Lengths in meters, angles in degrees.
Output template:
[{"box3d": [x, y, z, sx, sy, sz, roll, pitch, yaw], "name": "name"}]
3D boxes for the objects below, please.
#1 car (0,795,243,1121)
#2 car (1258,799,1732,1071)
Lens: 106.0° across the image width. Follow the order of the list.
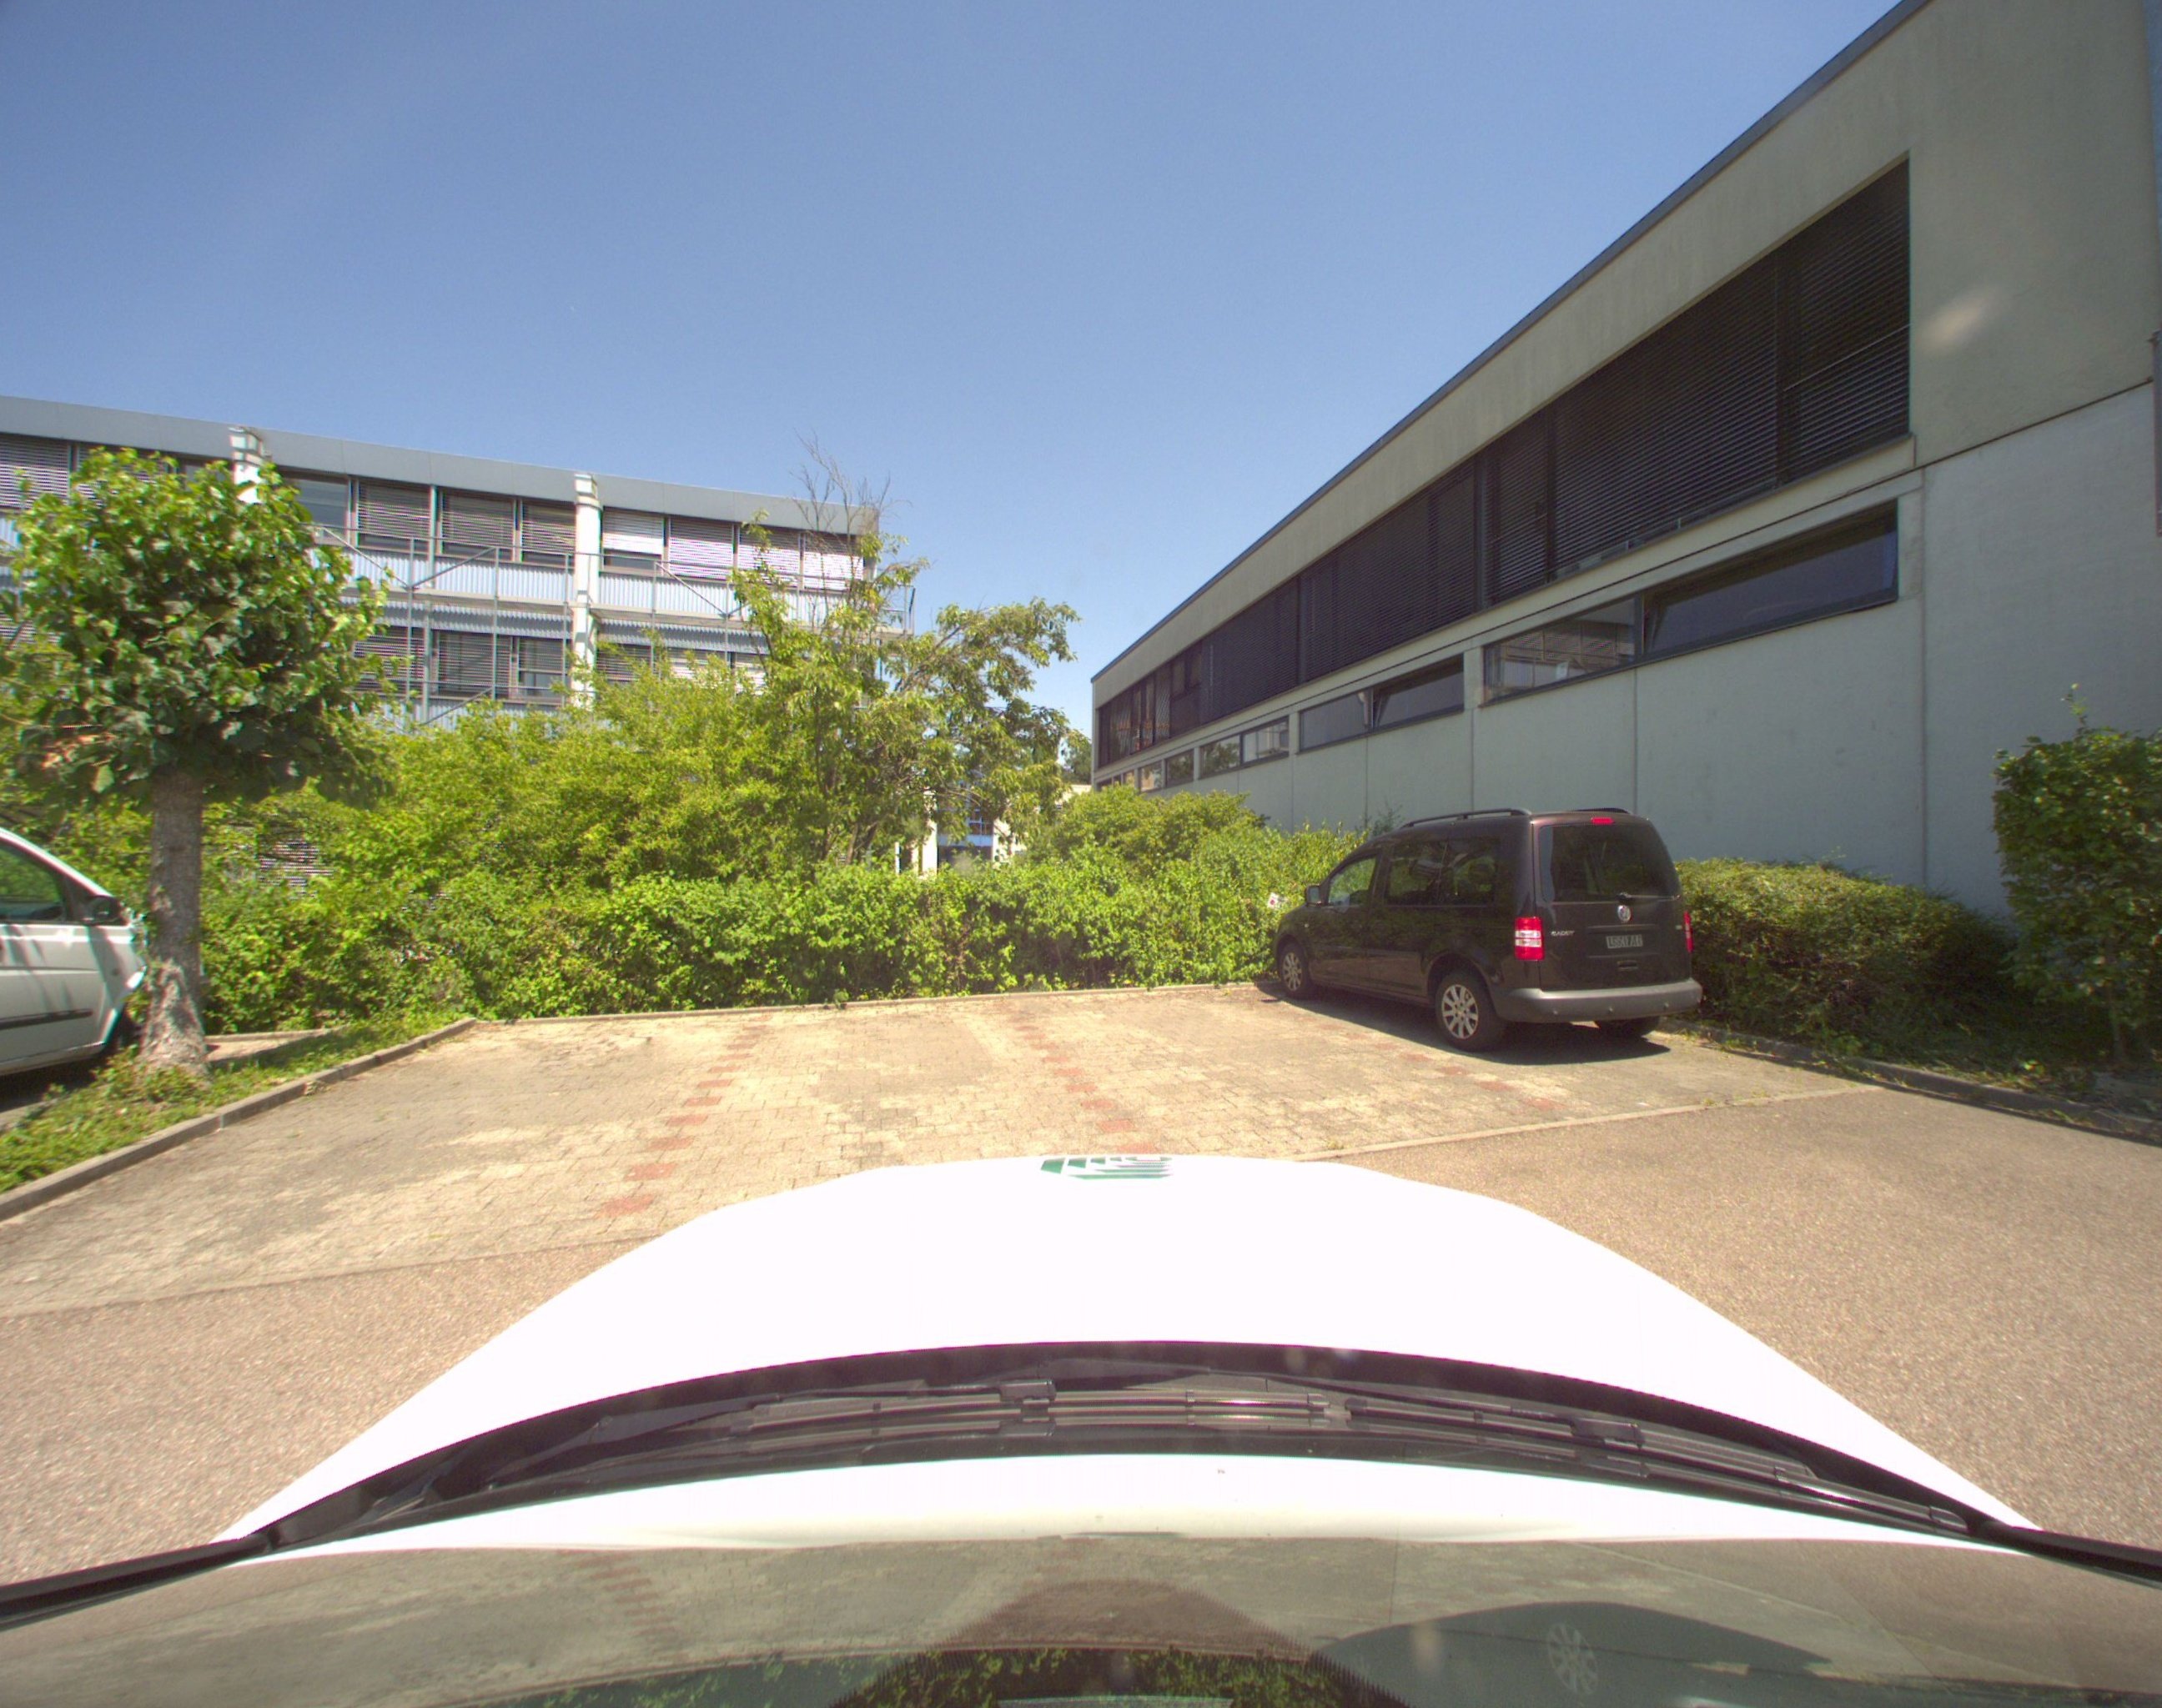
[{"box3d": [-7.131, 0.614, 4.108, 1.917, 1.905, 4.781, -1, 0, -16], "name": "car"}, {"box3d": [3.406, 0.570, 7.670, 1.746, 1.837, 3.979, 0, -1, -15], "name": "car"}]
